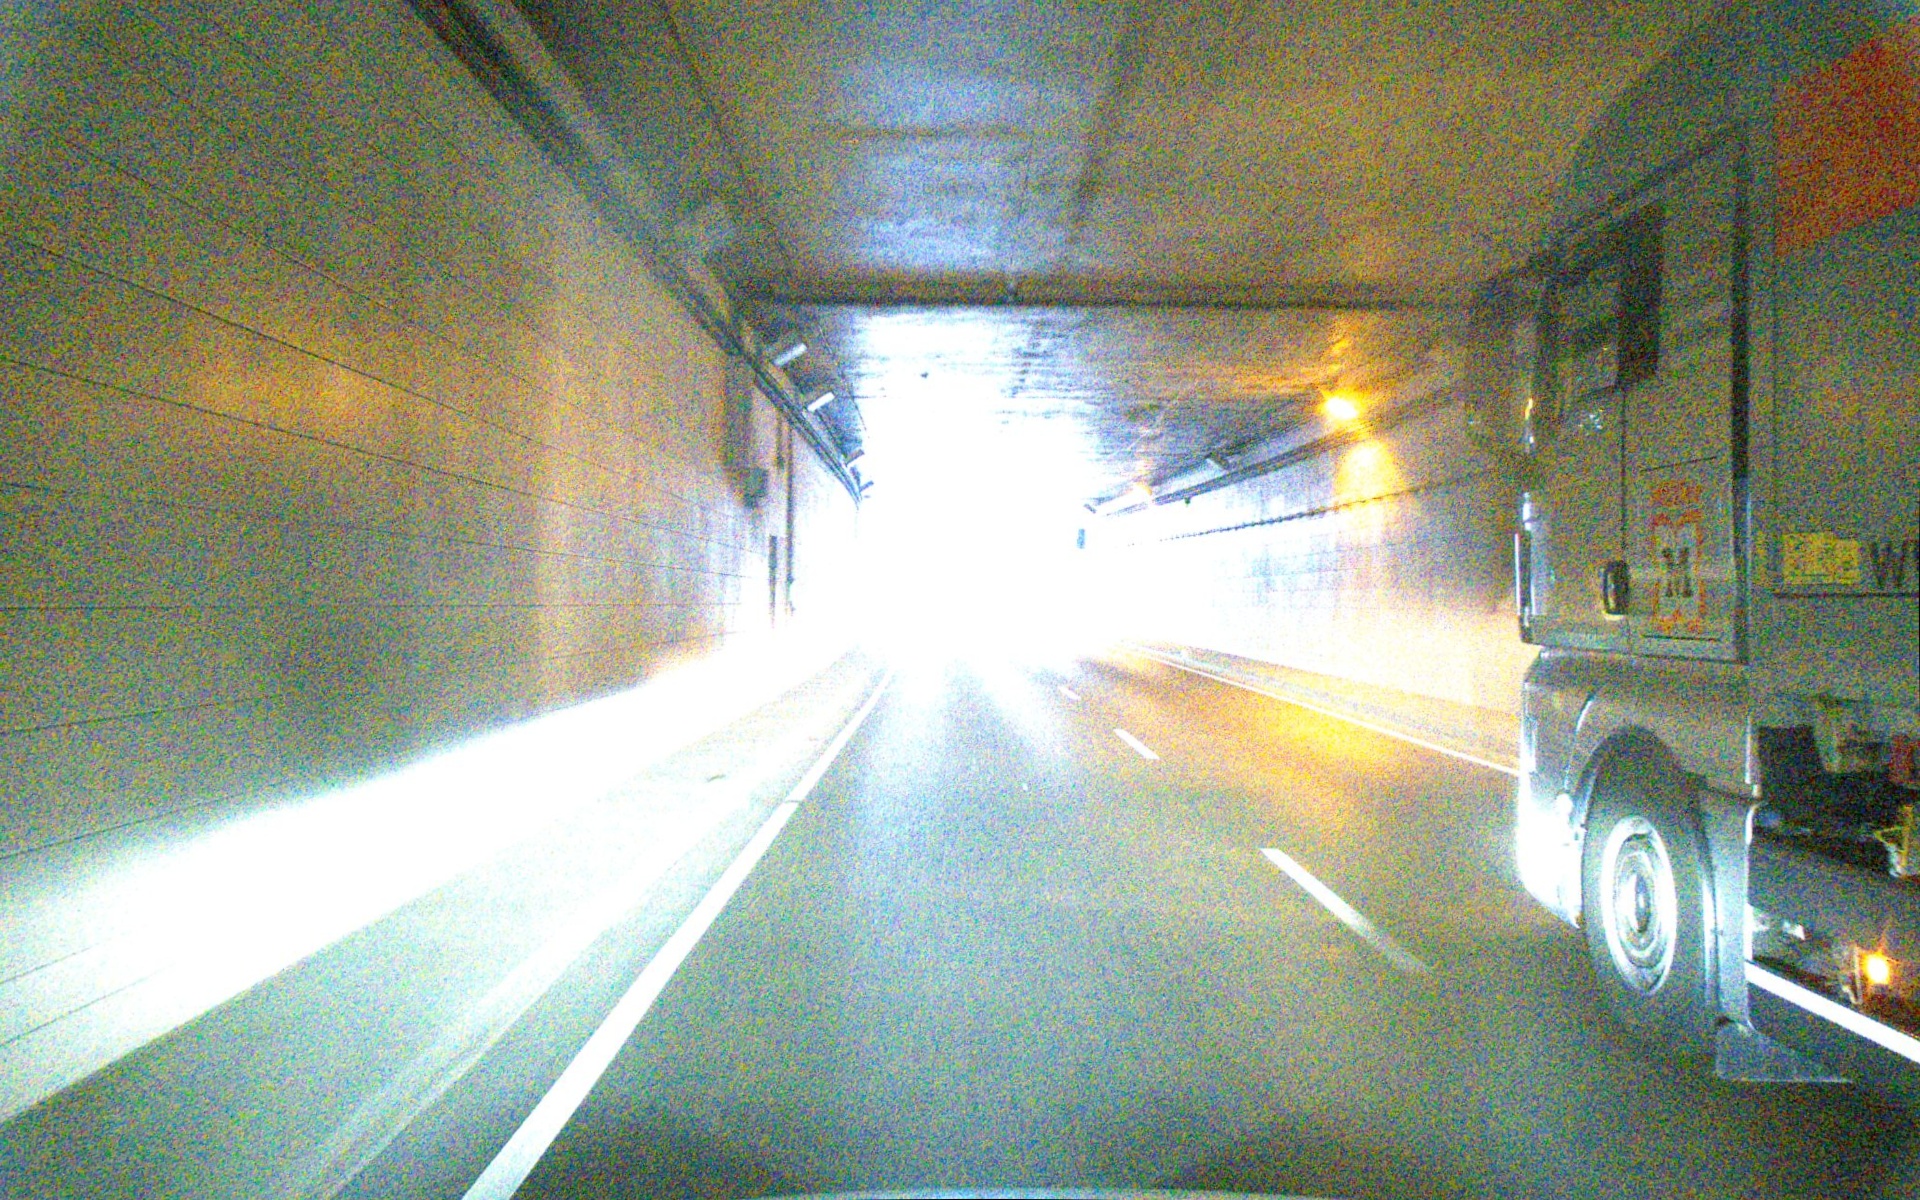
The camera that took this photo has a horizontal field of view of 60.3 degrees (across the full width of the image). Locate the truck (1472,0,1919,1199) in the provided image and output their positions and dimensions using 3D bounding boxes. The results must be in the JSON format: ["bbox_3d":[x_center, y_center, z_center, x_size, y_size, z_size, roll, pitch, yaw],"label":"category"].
[{"bbox_3d":[3.635,-0.536,2.171,2.830,3.982,9.908,0,0,0],"label":"truck"}]
